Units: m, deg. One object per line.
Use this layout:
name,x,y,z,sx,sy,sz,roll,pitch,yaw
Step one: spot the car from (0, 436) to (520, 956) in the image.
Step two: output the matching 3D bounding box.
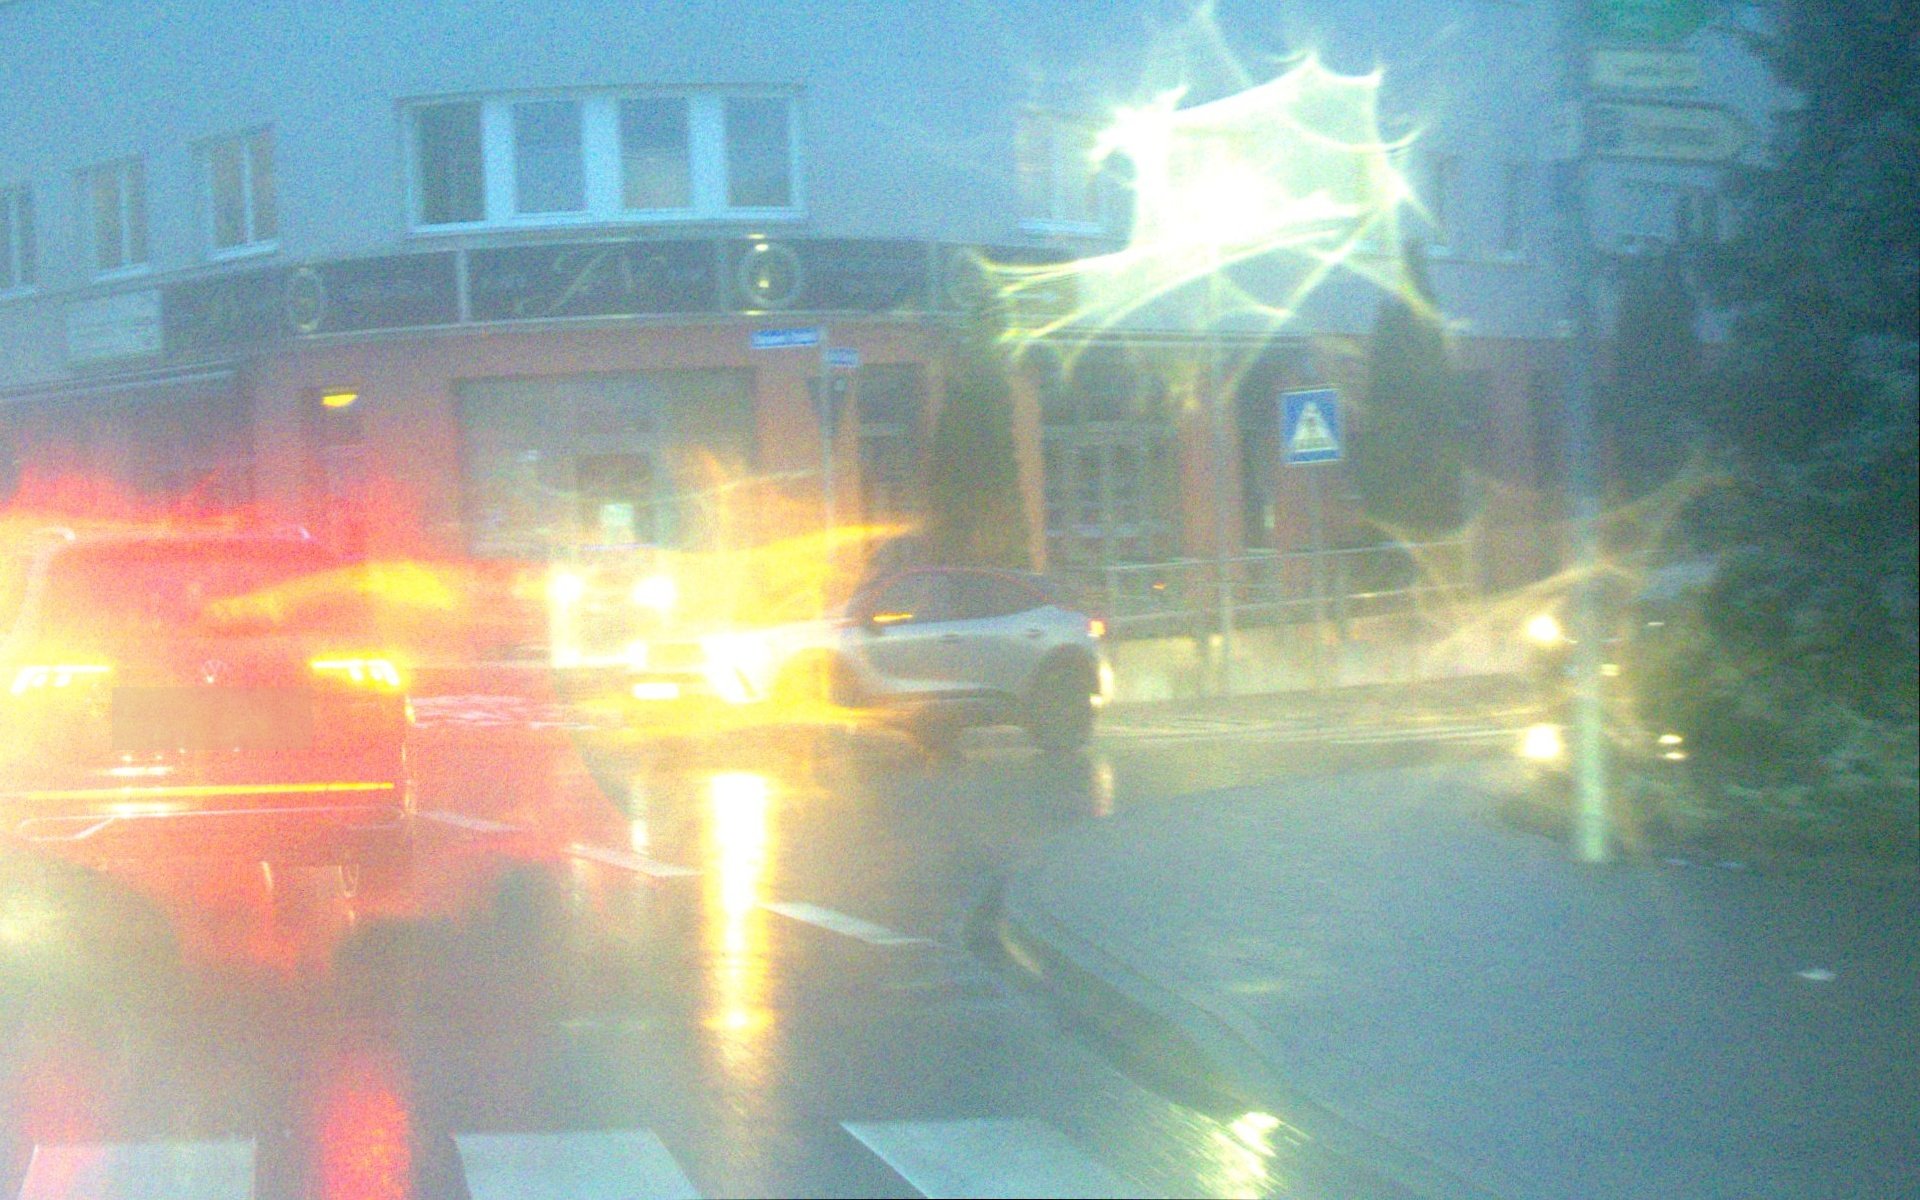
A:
car,-3.644,0.335,15.998,2.309,1.932,5.020,-3,2,-16

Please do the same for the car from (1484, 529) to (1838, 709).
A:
car,7.449,0.190,36.289,2.045,1.781,4.122,0,0,38

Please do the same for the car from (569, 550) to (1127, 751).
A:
car,-0.819,0.336,26.875,4.172,1.436,1.797,-1,2,-42
